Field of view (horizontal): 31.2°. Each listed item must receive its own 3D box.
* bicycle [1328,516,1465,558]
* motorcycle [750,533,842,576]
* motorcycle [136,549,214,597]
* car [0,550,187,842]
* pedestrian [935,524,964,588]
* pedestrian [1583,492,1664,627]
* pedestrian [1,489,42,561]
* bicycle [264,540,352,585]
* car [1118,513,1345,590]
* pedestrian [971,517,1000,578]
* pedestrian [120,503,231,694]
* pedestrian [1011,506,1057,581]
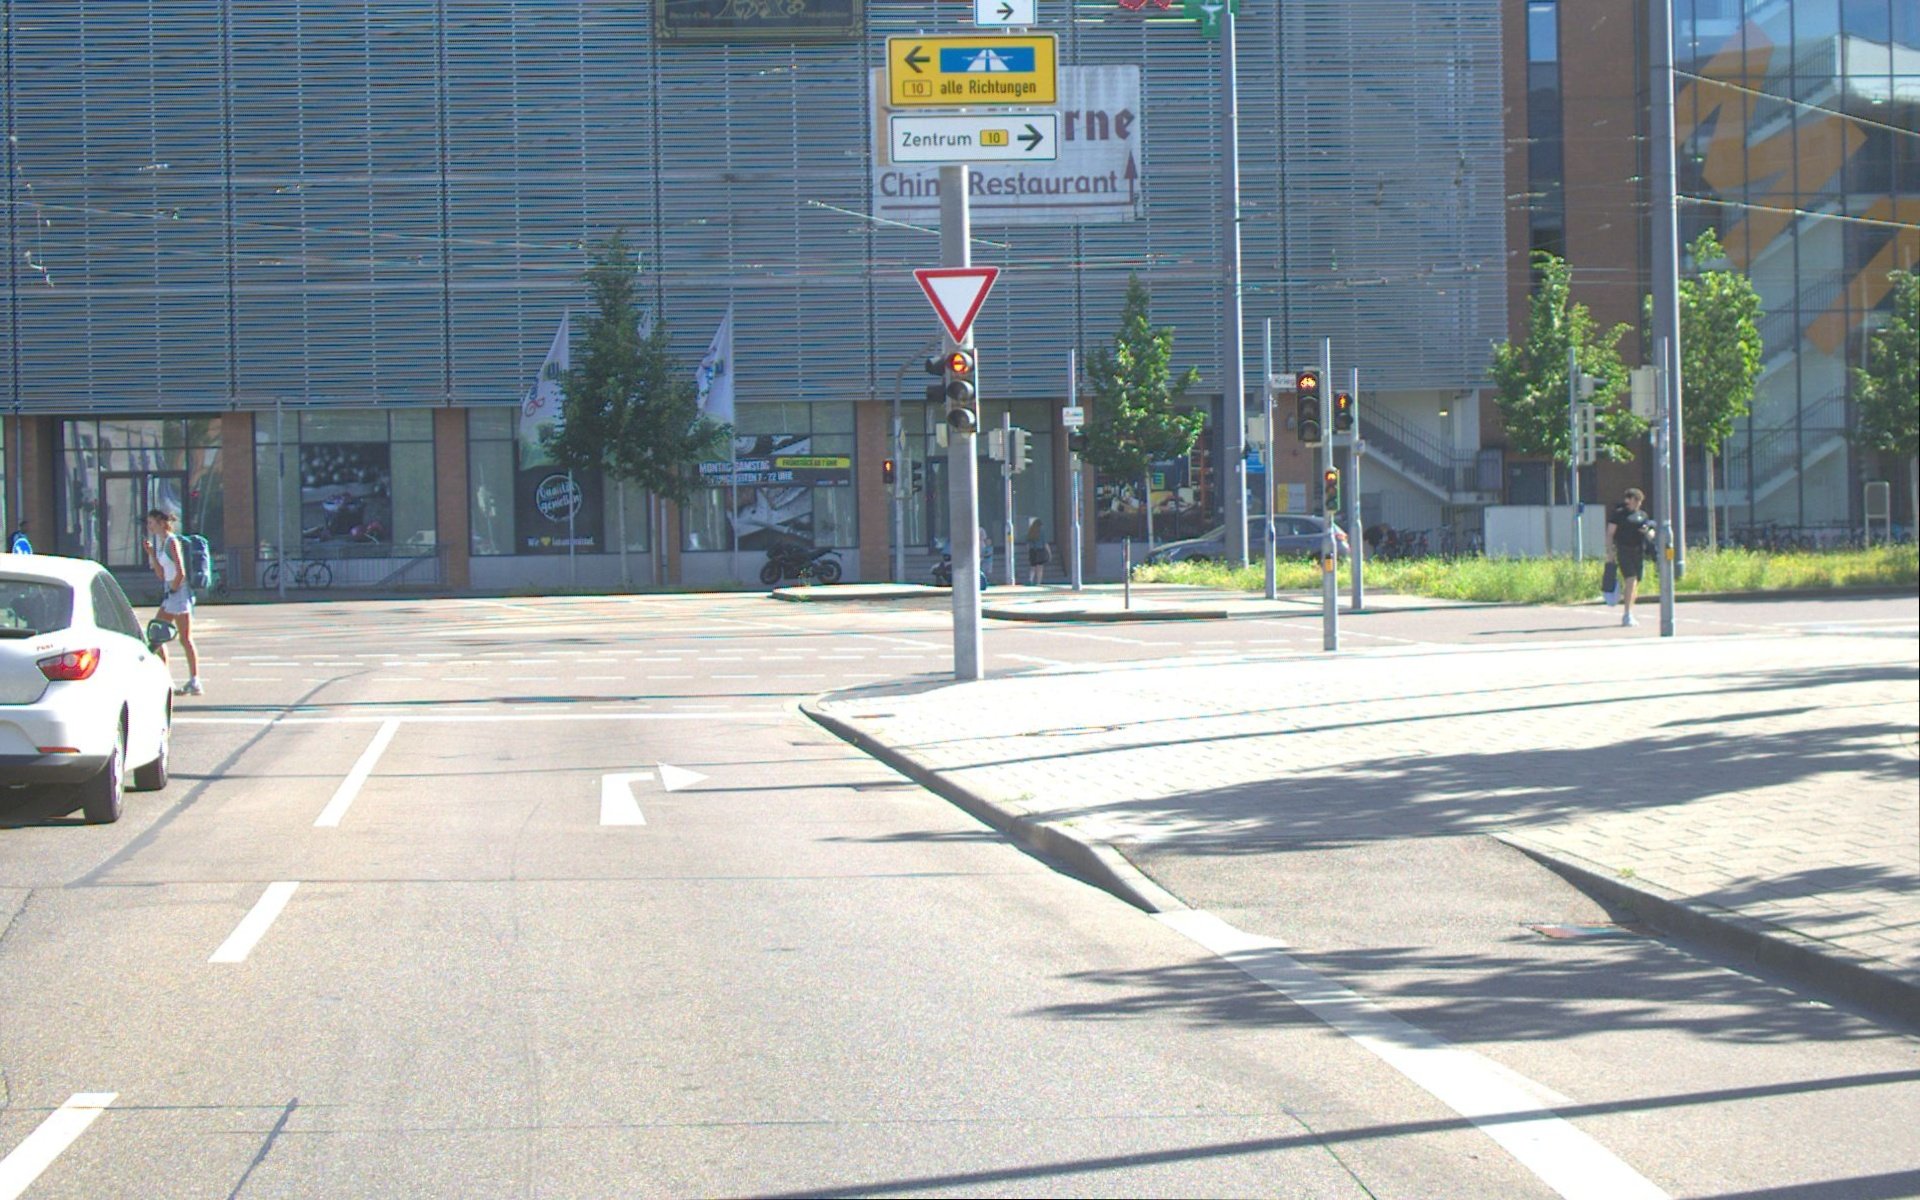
[{"bbox_3d":[11.170,-1.617,88.078,3.360,1.073,1.117,0,2,-1],"label":"bicycle"},{"bbox_3d":[-4.102,-1.139,85.903,2.202,1.039,1.062,0,2,-7],"label":"motorcycle"},{"bbox_3d":[-18.049,-0.622,79.076,1.652,1.055,0.497,-1,2,2],"label":"motorcycle"},{"bbox_3d":[-5.382,0.458,19.344,1.632,1.418,3.783,2,1,-7],"label":"car"},{"bbox_3d":[-0.251,-1.060,82.605,0.589,1.529,0.658,-1,2,-7],"label":"pedestrian"},{"bbox_3d":[8.483,-0.522,43.996,0.806,1.703,0.762,-1,1,-7],"label":"pedestrian"},{"bbox_3d":[-23.038,-1.837,84.383,0.848,1.757,0.620,-1,2,-8],"label":"pedestrian"},{"bbox_3d":[-15.957,-0.923,84.176,2.025,1.055,1.145,-1,2,-7],"label":"bicycle"},{"bbox_3d":[5.652,-1.021,71.804,4.486,1.489,1.495,-1,2,-7],"label":"car"},{"bbox_3d":[0.615,-1.279,83.327,0.589,1.457,0.658,-1,2,-7],"label":"pedestrian"},{"bbox_3d":[-7.139,-0.024,31.313,0.885,1.701,0.713,-1,2,-7],"label":"pedestrian"},{"bbox_3d":[1.717,-1.314,79.790,0.853,1.732,0.754,-2,1,-13],"label":"pedestrian"}]
